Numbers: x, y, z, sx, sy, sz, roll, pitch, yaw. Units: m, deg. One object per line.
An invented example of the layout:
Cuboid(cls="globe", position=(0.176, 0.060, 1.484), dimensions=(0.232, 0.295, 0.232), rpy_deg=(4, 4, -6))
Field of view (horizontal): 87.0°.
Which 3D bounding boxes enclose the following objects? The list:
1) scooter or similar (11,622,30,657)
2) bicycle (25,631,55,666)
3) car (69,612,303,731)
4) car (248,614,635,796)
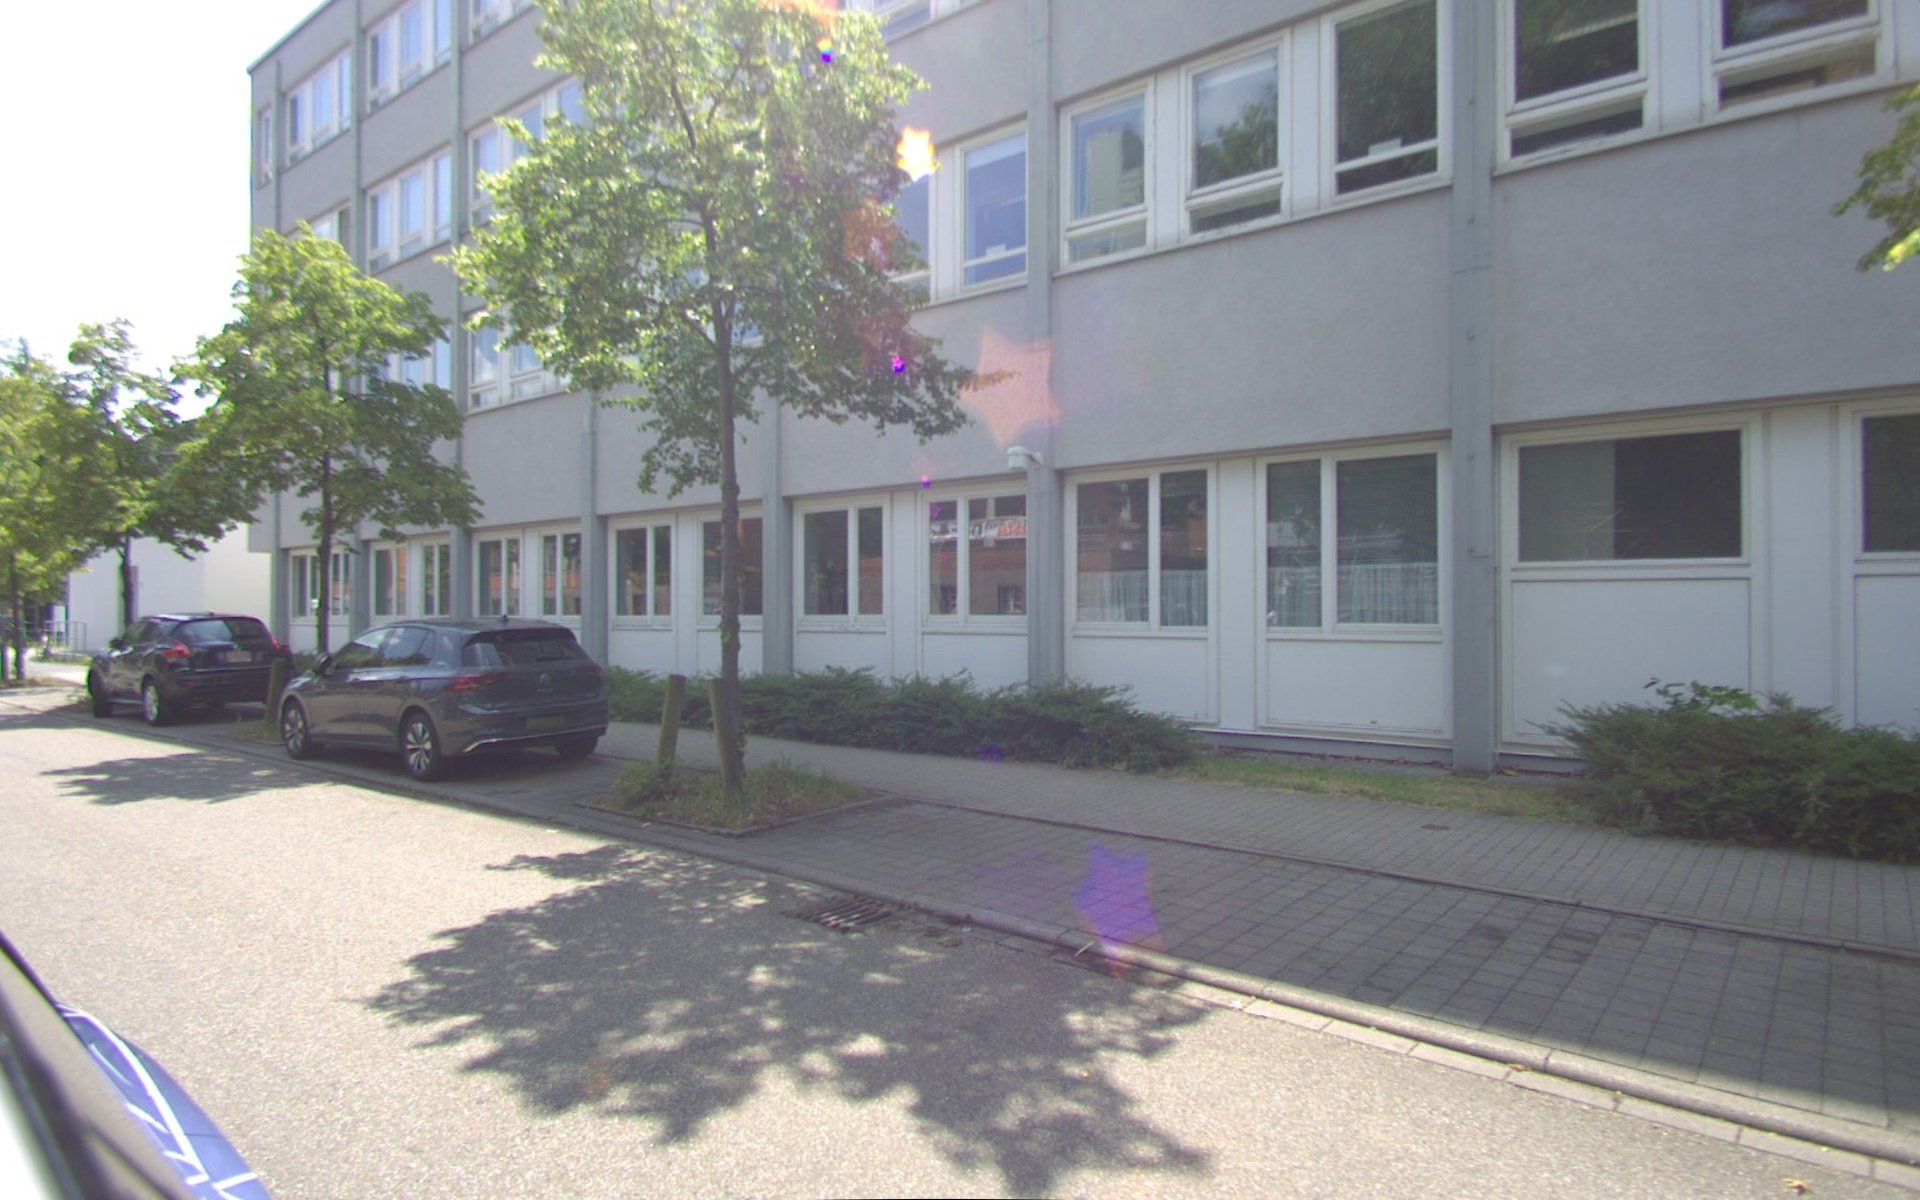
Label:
Cuboid(cls="scooter or similar", position=(-34.907, 1.454, 37.614), dimensions=(0.476, 1.272, 1.315), rpy_deg=(1, -1, -41))
Cuboid(cls="bicycle", position=(-29.800, 1.553, 32.769), dimensions=(1.898, 1.069, 0.537), rpy_deg=(-1, -1, 42))
Cuboid(cls="car", position=(-11.768, 0.988, 15.324), dimensions=(4.058, 1.576, 1.682), rpy_deg=(-1, -1, 35))
Cuboid(cls="car", position=(-5.413, 0.918, 10.371), dimensions=(4.249, 1.472, 1.763), rpy_deg=(-1, 0, 35))
